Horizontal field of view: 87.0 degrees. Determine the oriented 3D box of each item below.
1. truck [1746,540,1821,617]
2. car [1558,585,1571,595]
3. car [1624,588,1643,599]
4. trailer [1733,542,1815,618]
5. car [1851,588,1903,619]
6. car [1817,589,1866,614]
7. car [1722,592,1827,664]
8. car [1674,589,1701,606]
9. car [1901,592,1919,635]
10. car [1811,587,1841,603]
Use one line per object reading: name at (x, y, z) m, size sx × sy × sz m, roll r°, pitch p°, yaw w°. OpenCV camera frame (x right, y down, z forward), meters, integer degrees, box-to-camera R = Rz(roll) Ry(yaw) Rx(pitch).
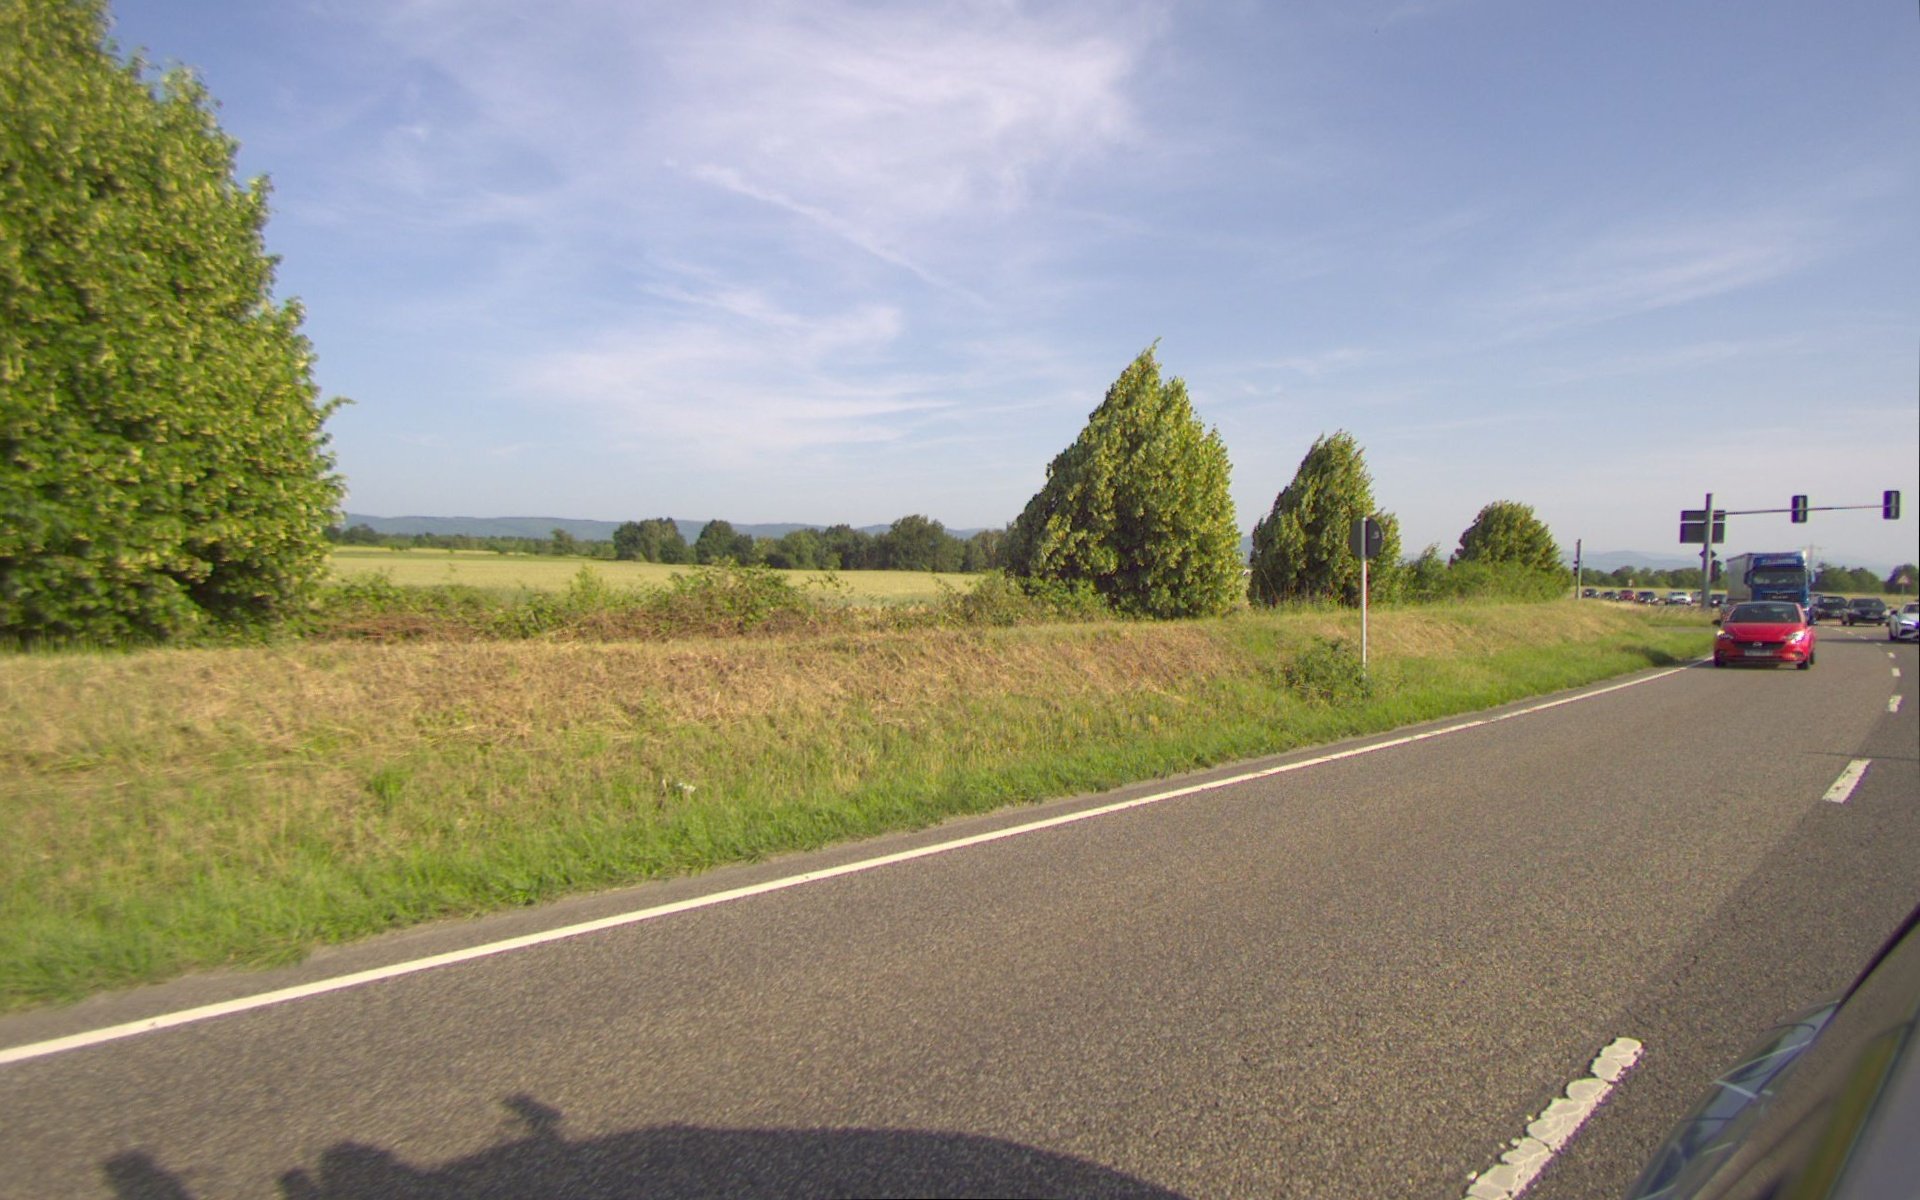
truck at (44.892, -1.161, 55.344) m, size 2.635 × 3.969 × 5.878 m, roll -1°, pitch 0°, yaw 34°
car at (112.934, -1.850, 189.135) m, size 1.533 × 1.718 × 3.603 m, roll 1°, pitch 1°, yaw 22°
car at (96.100, -0.929, 144.428) m, size 1.502 × 1.412 × 3.492 m, roll 1°, pitch 1°, yaw 22°
trailer at (48.439, -1.168, 60.562) m, size 2.635 × 4.029 × 13.760 m, roll -1°, pitch 0°, yaw 34°
car at (48.428, 0.175, 53.508) m, size 1.744 × 1.549 × 3.945 m, roll 1°, pitch 1°, yaw 38°
car at (55.557, 0.064, 63.844) m, size 1.820 × 1.549 × 3.951 m, roll 1°, pitch 1°, yaw 34°
car at (18.735, 0.565, 23.227) m, size 1.660 × 1.482 × 3.895 m, roll 0°, pitch 1°, yaw 42°
car at (83.628, -0.350, 116.440) m, size 1.982 × 1.905 × 3.961 m, roll 1°, pitch 1°, yaw 28°
car at (33.604, 0.449, 34.549) m, size 1.868 × 1.415 × 4.145 m, roll 1°, pitch 1°, yaw 39°
car at (88.476, -0.525, 103.461) m, size 1.678 × 1.542 × 4.046 m, roll 0°, pitch 1°, yaw 31°
